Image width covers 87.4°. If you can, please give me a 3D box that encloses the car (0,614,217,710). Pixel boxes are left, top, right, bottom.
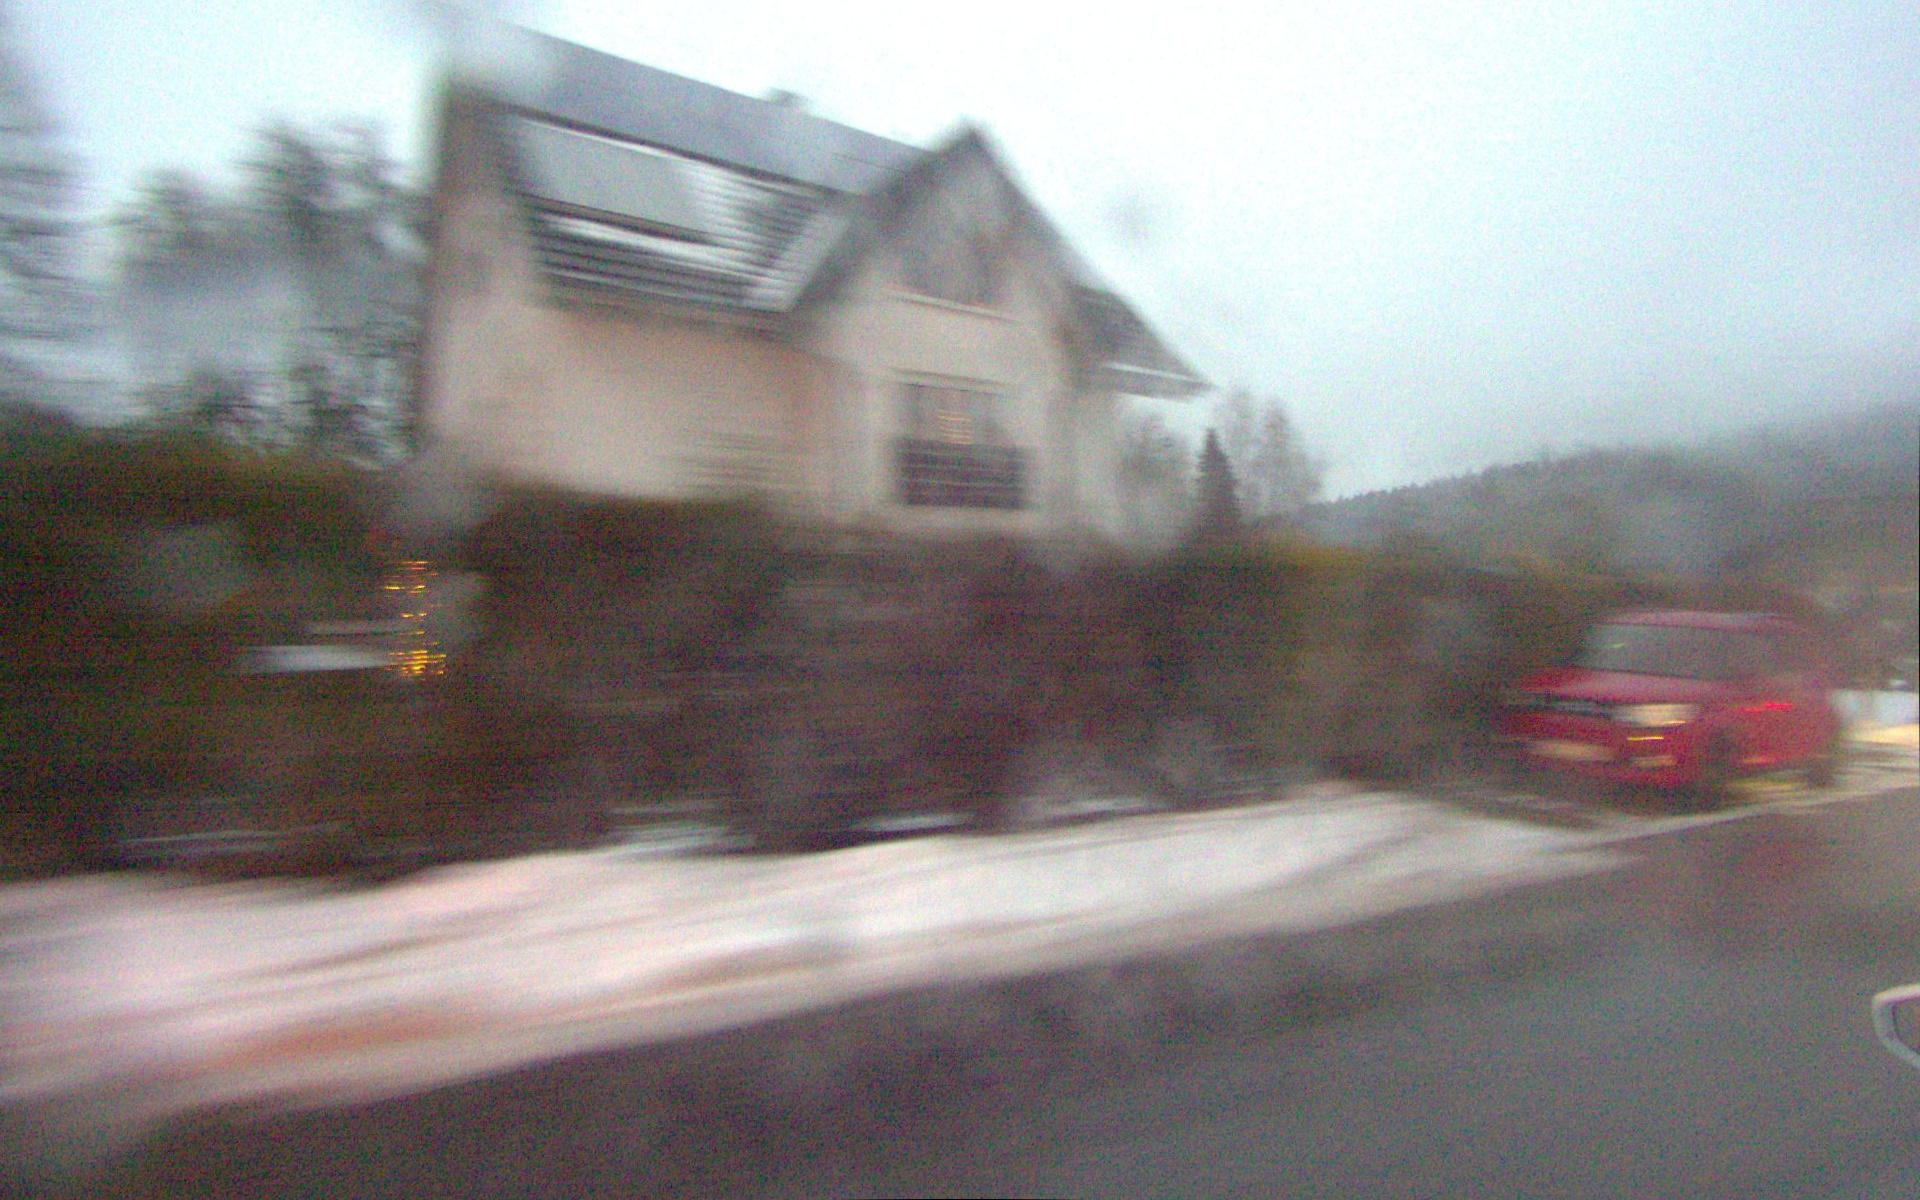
[{"bbox_3d":[-15.700,1.021,17.569,1.772,1.483,3.993,0,0,29],"label":"car"}]

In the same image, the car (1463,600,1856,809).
[{"bbox_3d":[6.412,0.811,9.152,3.477,1.555,1.709,1,-1,-32],"label":"car"}]
